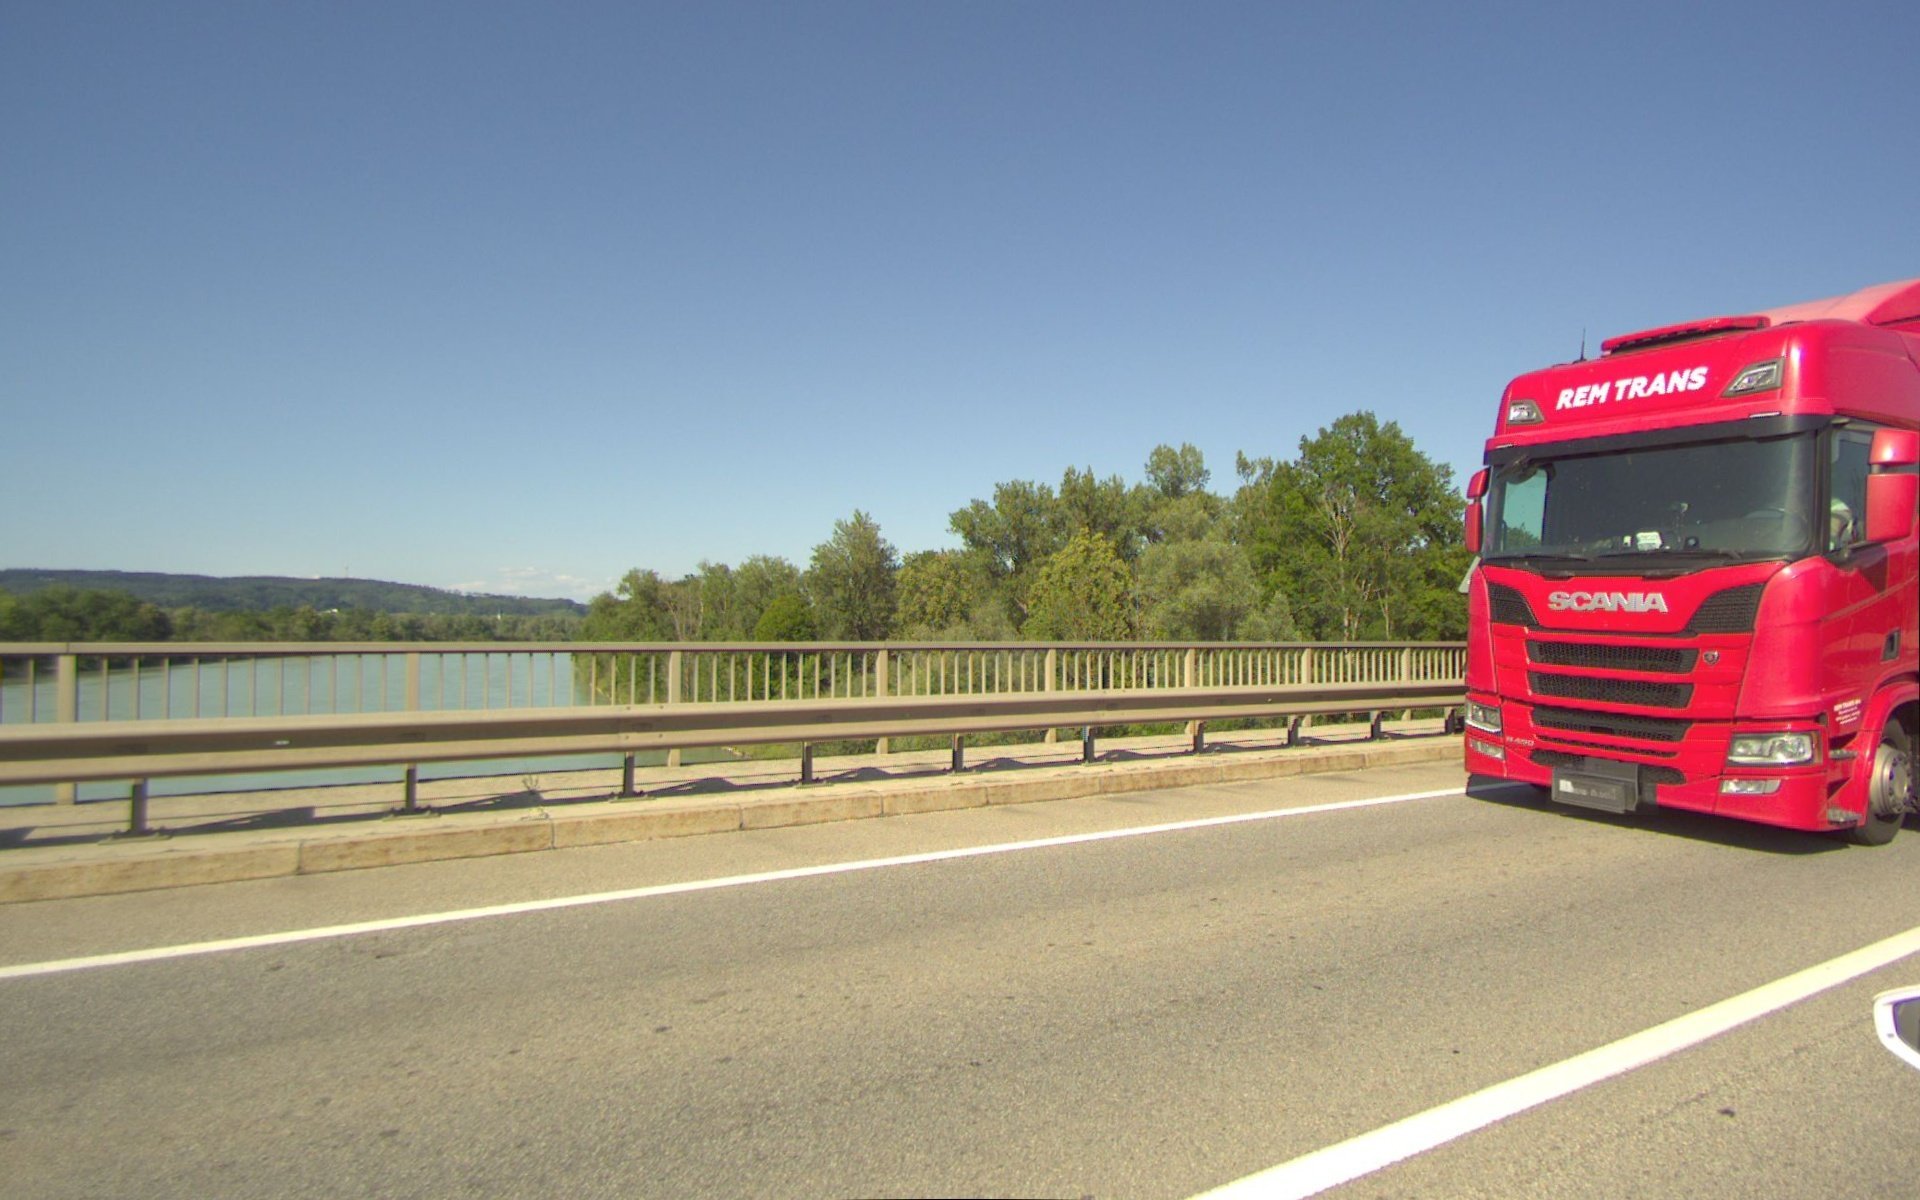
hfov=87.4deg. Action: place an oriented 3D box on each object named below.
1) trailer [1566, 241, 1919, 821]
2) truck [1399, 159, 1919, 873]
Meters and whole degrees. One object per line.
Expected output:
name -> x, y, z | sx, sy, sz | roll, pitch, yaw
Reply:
trailer -> 12.761, -0.391, 12.103 | 14.132, 4.359, 2.894 | 1, 0, -30
truck -> 6.875, -0.445, 8.662 | 5.646, 4.240, 2.894 | 1, 0, -31
